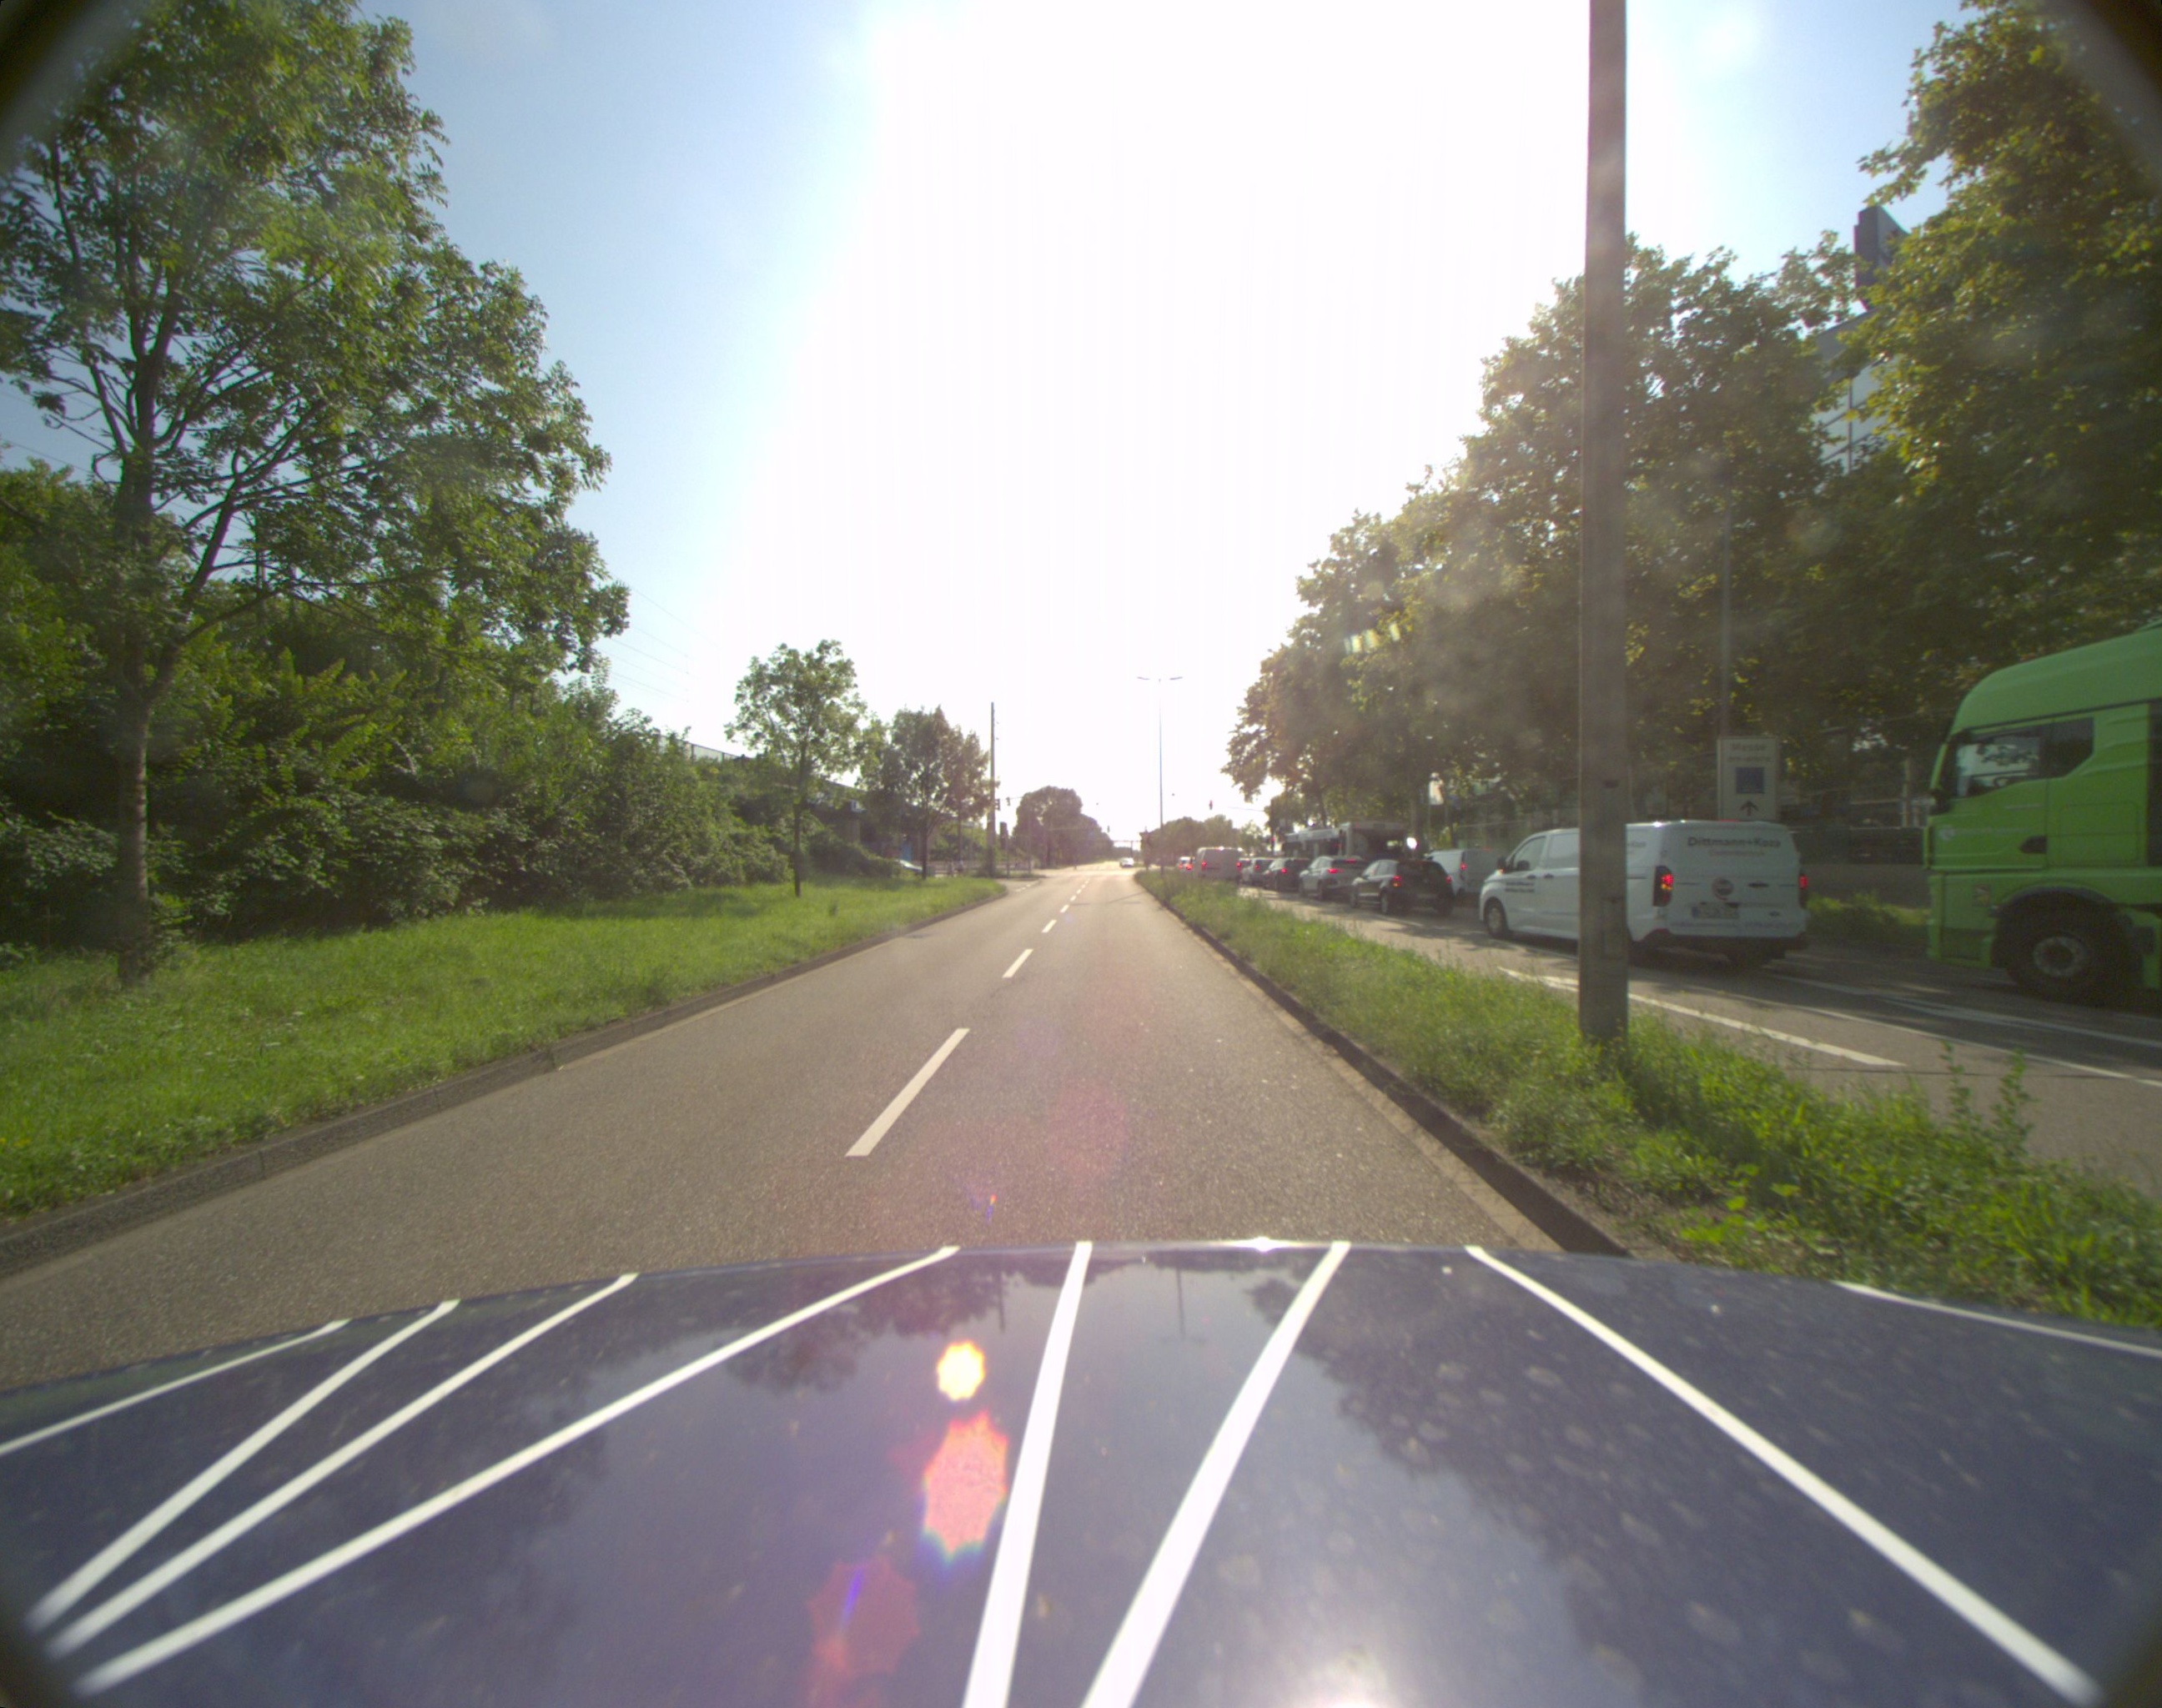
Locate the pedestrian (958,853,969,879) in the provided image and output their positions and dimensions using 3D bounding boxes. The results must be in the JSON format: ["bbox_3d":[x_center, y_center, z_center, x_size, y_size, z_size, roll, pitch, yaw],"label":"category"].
[{"bbox_3d":[-7.763,0.795,50.184,0.493,1.672,0.570,-1,1,-38],"label":"pedestrian"}]

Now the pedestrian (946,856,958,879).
[{"bbox_3d":[-8.635,0.899,50.794,0.573,1.558,0.535,-2,2,-39],"label":"pedestrian"}]

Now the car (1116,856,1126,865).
[{"bbox_3d":[7.542,1.226,142.426,1.864,1.584,4.002,0,0,4],"label":"car"}]

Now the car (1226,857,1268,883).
[{"bbox_3d":[9.947,0.917,45.738,1.710,1.433,4.000,1,0,2],"label":"car"}]

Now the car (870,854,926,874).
[{"bbox_3d":[-15.385,0.847,63.907,4.224,1.608,2.006,0,0,-31],"label":"car"}]

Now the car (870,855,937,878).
[{"bbox_3d":[-12.315,0.840,52.825,4.184,1.524,1.874,0,0,21],"label":"car"}]

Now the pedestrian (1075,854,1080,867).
[{"bbox_3d":[-0.491,0.886,103.635,0.587,1.715,0.647,0,1,-2],"label":"pedestrian"}]

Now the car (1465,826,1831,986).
[{"bbox_3d":[8.193,0.623,11.803,1.998,1.942,5.036,0,0,2],"label":"car"}]

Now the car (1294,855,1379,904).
[{"bbox_3d":[8.886,0.836,26.794,1.698,1.520,4.140,1,0,2],"label":"car"}]

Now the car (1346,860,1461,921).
[{"bbox_3d":[8.553,0.911,20.508,1.618,1.390,3.858,1,0,3],"label":"car"}]

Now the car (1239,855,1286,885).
[{"bbox_3d":[9.699,0.840,40.824,1.710,1.458,3.822,1,0,2],"label":"car"}]

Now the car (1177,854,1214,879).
[{"bbox_3d":[6.803,0.749,45.318,1.713,1.394,4.084,1,-1,2],"label":"car"}]

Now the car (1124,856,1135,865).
[{"bbox_3d":[7.449,0.978,116.240,1.544,1.433,3.396,0,-1,6],"label":"car"}]

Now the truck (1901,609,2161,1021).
[{"bbox_3d":[11.216,-0.336,6.233,2.614,3.797,5.891,1,0,2],"label":"truck"}]

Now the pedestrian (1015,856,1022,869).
[{"bbox_3d":[-7.692,1.030,93.706,0.636,1.565,0.489,-2,1,-39],"label":"pedestrian"}]

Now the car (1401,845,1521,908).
[{"bbox_3d":[12.404,0.663,25.186,1.707,1.877,4.749,1,0,3],"label":"car"}]

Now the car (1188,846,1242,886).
[{"bbox_3d":[6.561,0.573,37.686,1.916,1.852,4.891,1,0,2],"label":"car"}]

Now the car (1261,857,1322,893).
[{"bbox_3d":[9.243,0.889,33.668,1.651,1.425,4.190,1,0,3],"label":"car"}]

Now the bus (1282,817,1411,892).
[{"bbox_3d":[12.642,0.006,37.692,2.596,3.061,12.313,-1,0,3],"label":"bus"}]
